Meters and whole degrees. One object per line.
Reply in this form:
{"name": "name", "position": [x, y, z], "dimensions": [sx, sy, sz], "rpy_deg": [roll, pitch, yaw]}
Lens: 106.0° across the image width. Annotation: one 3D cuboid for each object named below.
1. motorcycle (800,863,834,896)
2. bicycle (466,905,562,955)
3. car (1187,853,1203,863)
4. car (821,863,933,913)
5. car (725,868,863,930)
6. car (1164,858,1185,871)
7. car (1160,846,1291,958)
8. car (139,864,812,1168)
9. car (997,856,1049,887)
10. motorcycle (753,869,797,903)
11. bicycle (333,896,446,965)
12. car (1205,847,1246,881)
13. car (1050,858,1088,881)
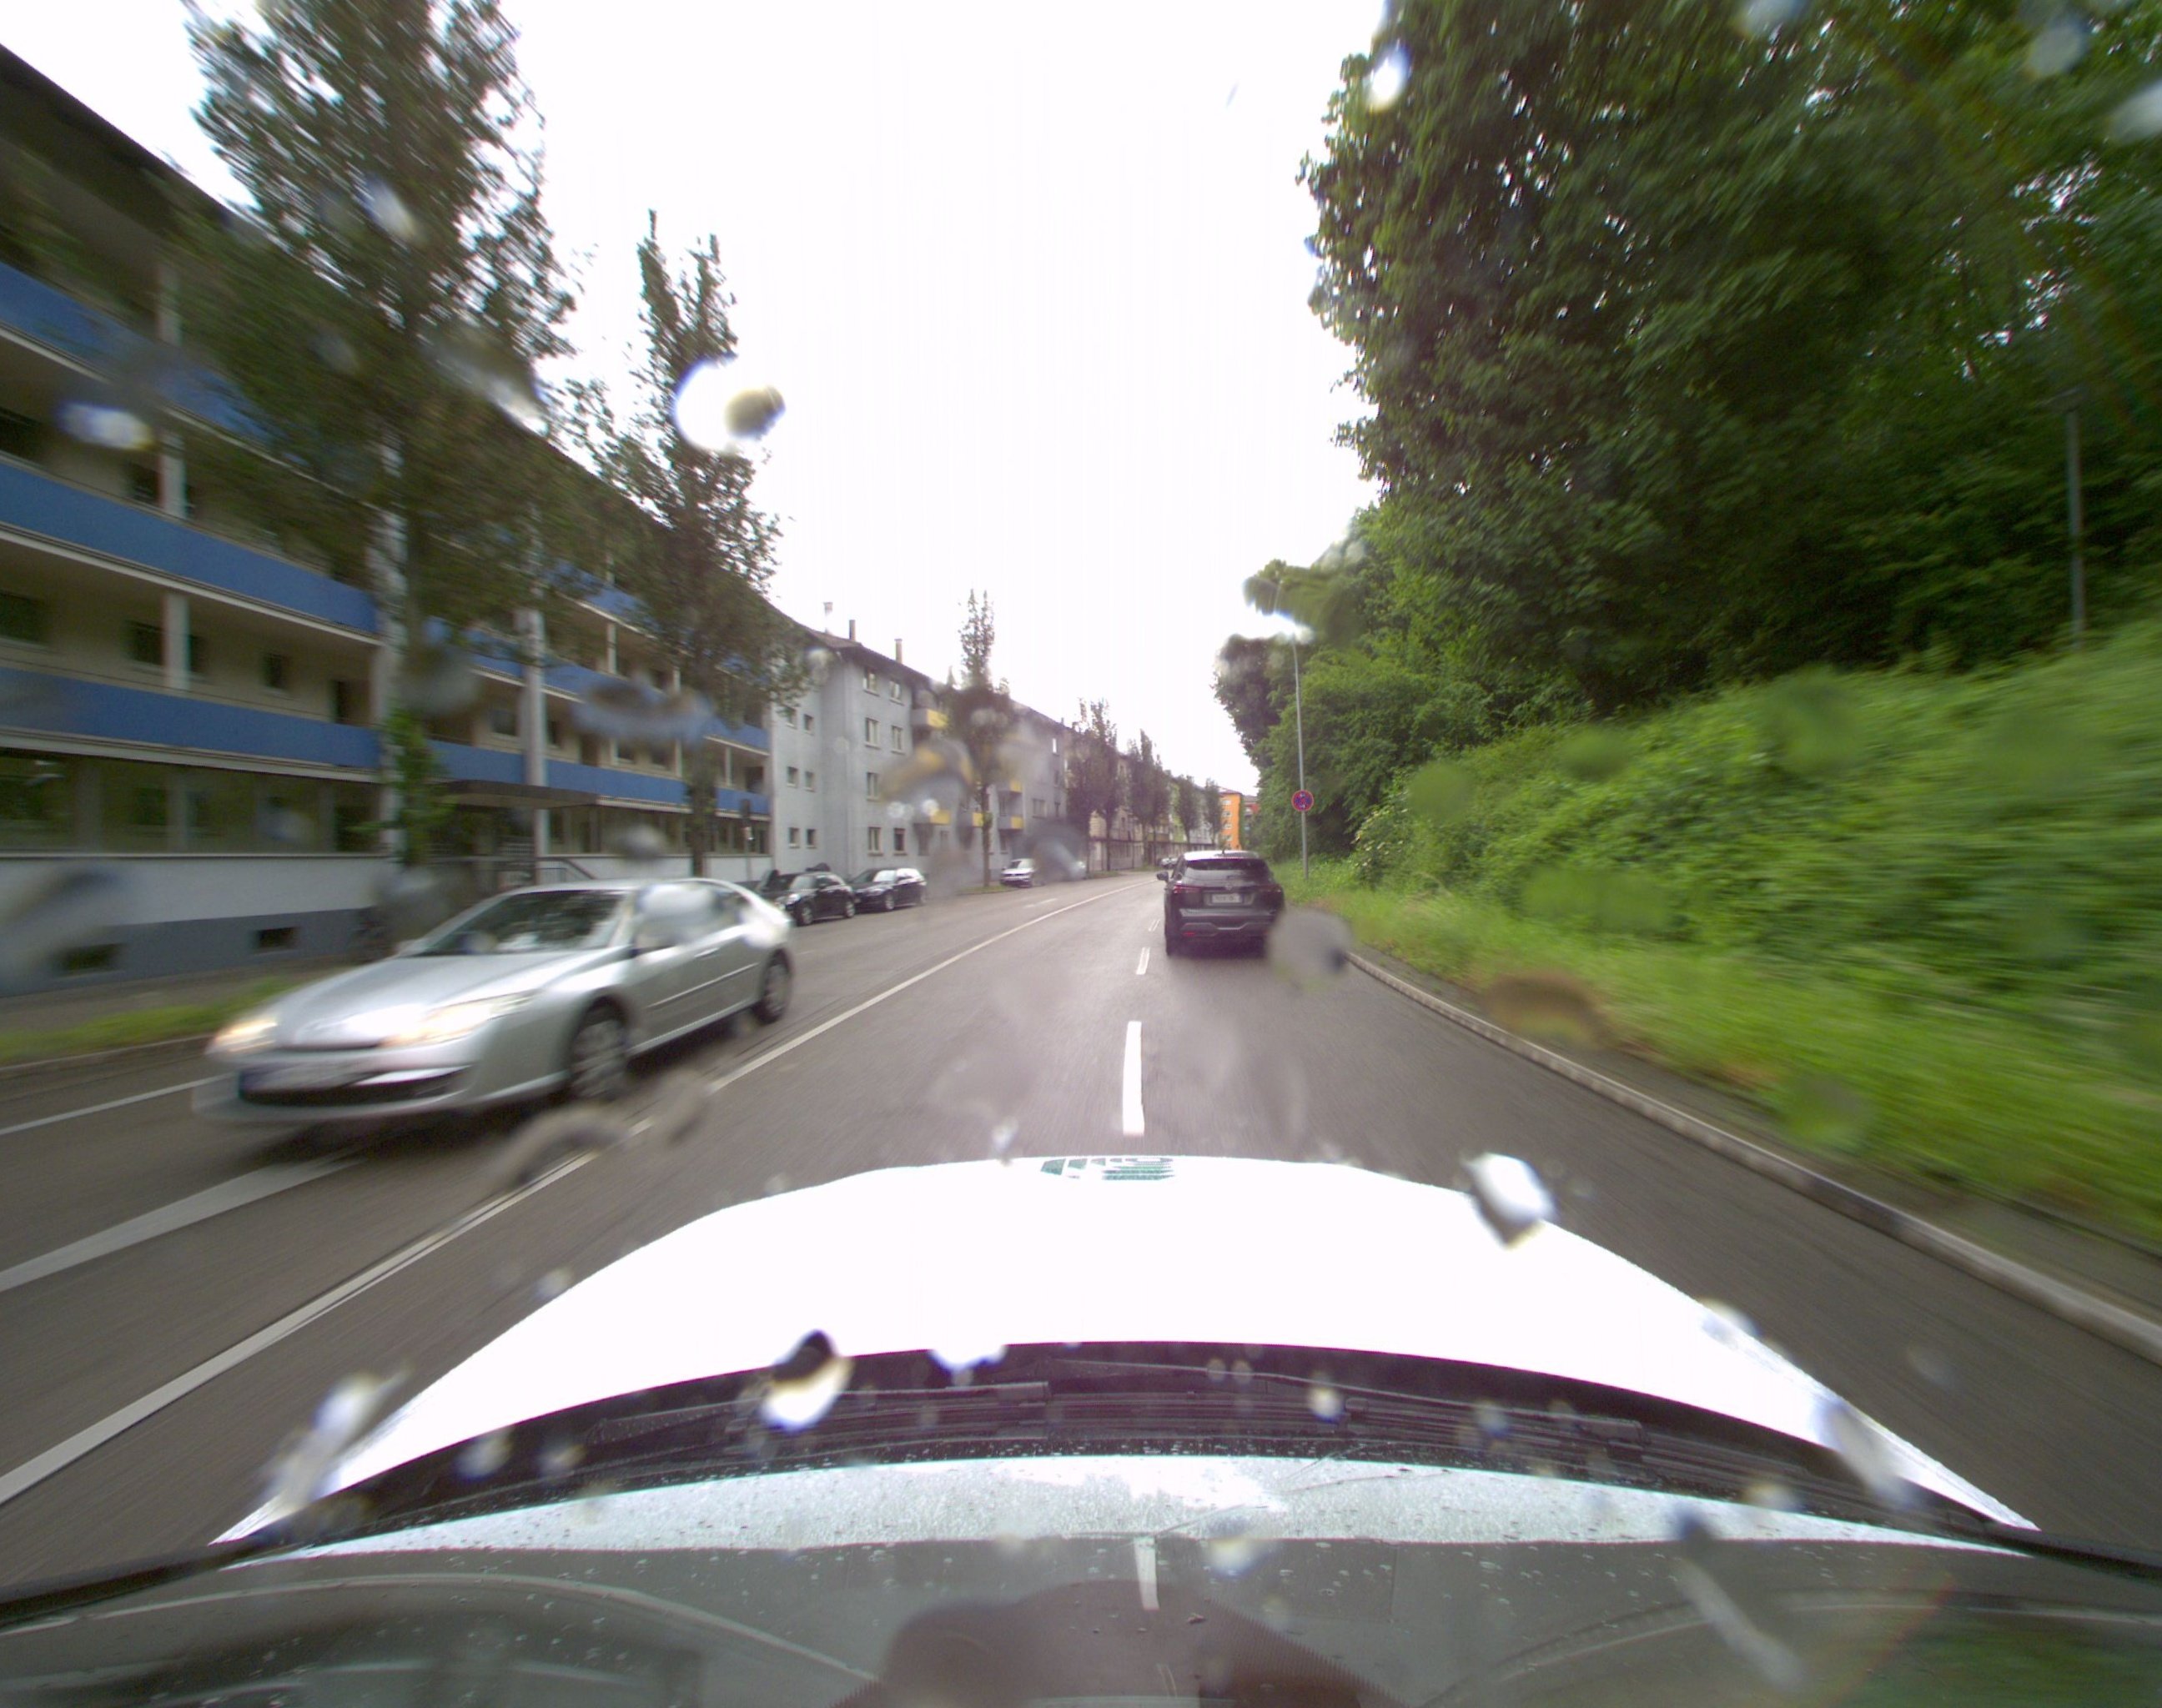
{"name": "motorcycle", "position": [-11.819, 1.132, 36.590], "dimensions": [0.672, 1.414, 2.238], "rpy_deg": [1, 0, 3]}
{"name": "bicycle", "position": [-11.467, 1.520, 16.556], "dimensions": [0.665, 0.825, 1.741], "rpy_deg": [1, 0, 2]}
{"name": "car", "position": [17.107, 0.612, 121.979], "dimensions": [1.804, 1.372, 4.699], "rpy_deg": [-4, -1, 15]}
{"name": "car", "position": [-6.849, 1.111, 27.986], "dimensions": [1.809, 1.439, 4.906], "rpy_deg": [-4, -1, 10]}
{"name": "car", "position": [-7.834, 1.179, 22.670], "dimensions": [1.769, 1.403, 4.099], "rpy_deg": [-4, 0, 9]}
{"name": "car", "position": [11.736, 1.318, 101.888], "dimensions": [1.804, 1.489, 4.809], "rpy_deg": [-4, -1, 15]}
{"name": "car", "position": [2.255, 0.680, 13.628], "dimensions": [1.836, 1.582, 4.006], "rpy_deg": [-1, 0, 6]}
{"name": "car", "position": [-3.816, 0.845, 6.384], "dimensions": [1.746, 1.425, 4.538], "rpy_deg": [-2, 0, 2]}
{"name": "car", "position": [-3.212, 0.946, 46.109], "dimensions": [1.752, 1.604, 4.547], "rpy_deg": [-3, 0, 11]}
{"name": "motorcycle", "position": [-12.023, 1.237, 32.071], "dimensions": [0.672, 1.254, 2.240], "rpy_deg": [0, 0, 5]}
{"name": "bicycle", "position": [-11.994, 1.294, 14.199], "dimensions": [0.611, 1.023, 1.729], "rpy_deg": [-2, 0, -7]}
{"name": "car", "position": [7.830, 0.522, 44.442], "dimensions": [1.877, 1.711, 4.007], "rpy_deg": [-1, 0, 6]}
{"name": "car", "position": [-0.780, 1.030, 56.784], "dimensions": [1.713, 1.453, 4.219], "rpy_deg": [-3, -1, 12]}
